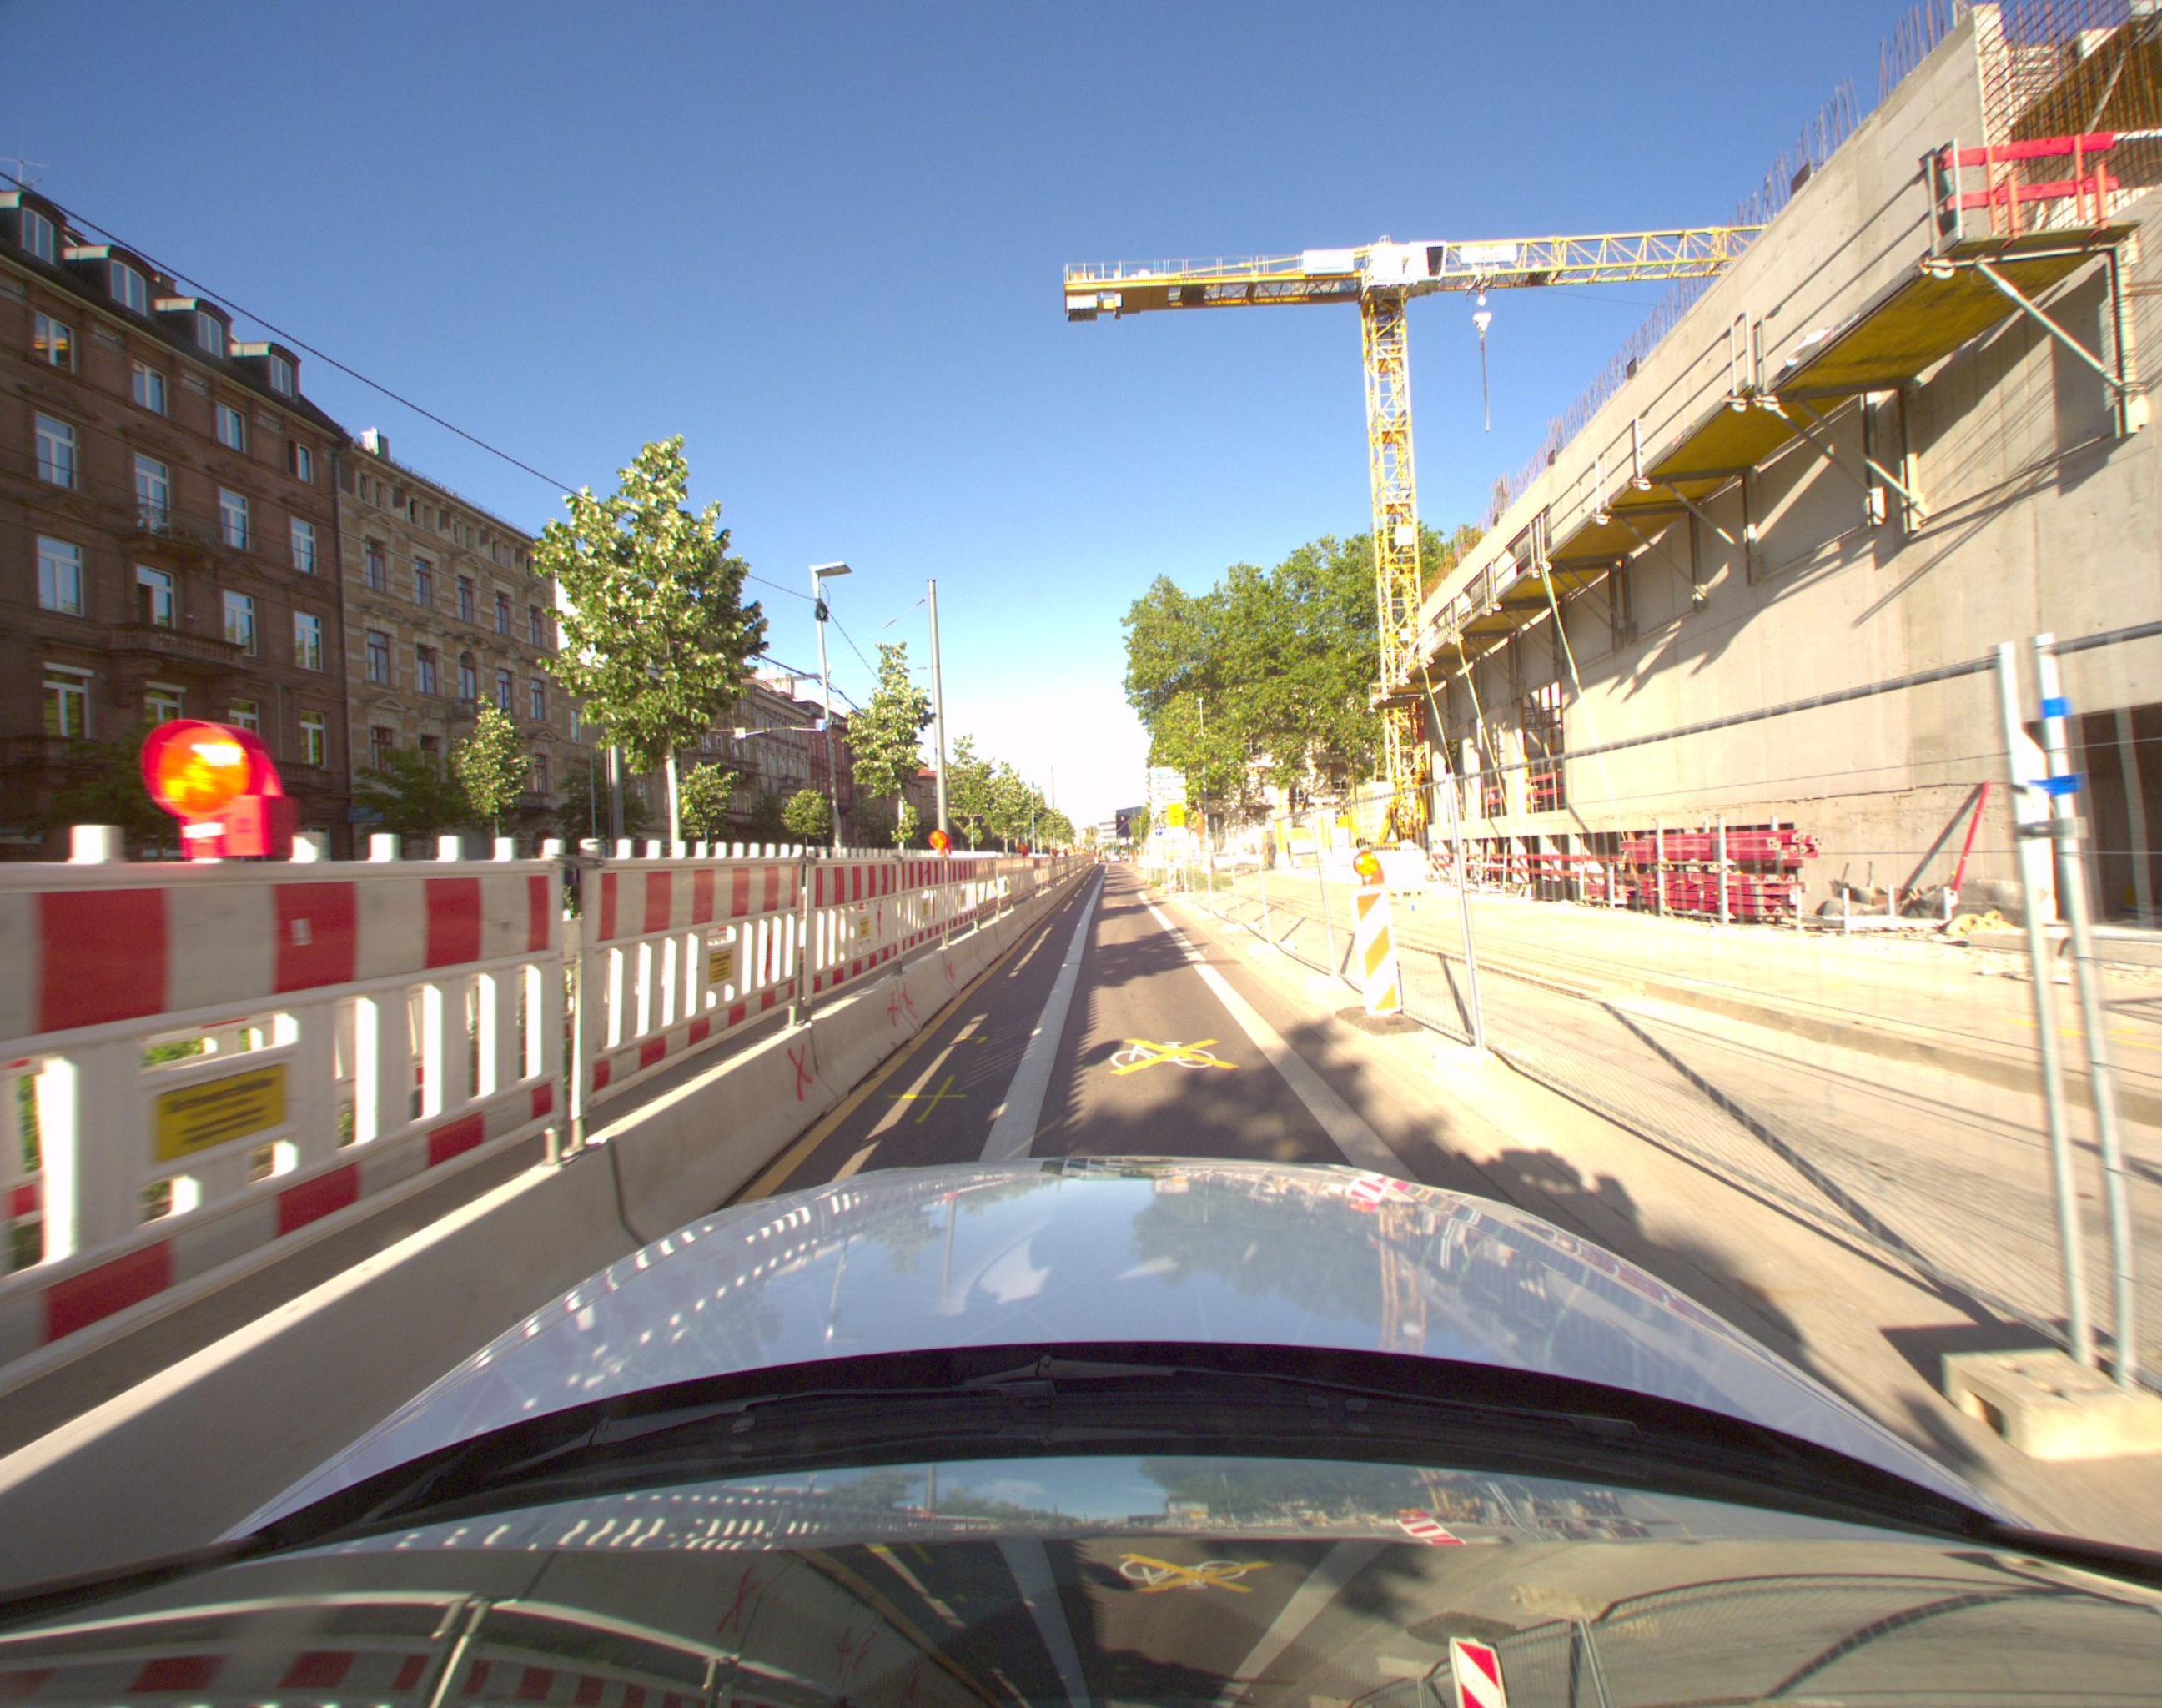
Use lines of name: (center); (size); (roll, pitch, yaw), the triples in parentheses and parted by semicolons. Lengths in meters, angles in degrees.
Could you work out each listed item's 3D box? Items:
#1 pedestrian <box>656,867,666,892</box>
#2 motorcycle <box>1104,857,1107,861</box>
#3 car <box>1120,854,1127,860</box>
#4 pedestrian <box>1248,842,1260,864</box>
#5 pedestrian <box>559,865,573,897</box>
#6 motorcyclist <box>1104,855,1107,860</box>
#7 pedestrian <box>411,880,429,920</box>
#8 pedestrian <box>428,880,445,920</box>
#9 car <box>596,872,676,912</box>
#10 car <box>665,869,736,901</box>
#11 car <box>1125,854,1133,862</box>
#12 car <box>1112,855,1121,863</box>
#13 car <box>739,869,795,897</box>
pedestrian: (-26.029, 1.574, 50.499); (0.403, 1.534, 0.435); (0, -1, 2)
motorcycle: (6.797, 1.410, 225.205); (0.628, 0.896, 1.622); (-3, 0, 2)
car: (11.955, 0.827, 230.098); (1.876, 1.842, 3.669); (-3, 0, 2)
pedestrian: (13.850, -0.085, 65.195); (0.772, 1.746, 0.671); (-3, 0, 3)
pedestrian: (-25.743, 1.335, 40.712); (0.460, 1.585, 0.434); (0, -1, -5)
motorcyclist: (6.770, 0.926, 225.249); (0.628, 1.263, 0.606); (-3, 0, 2)
pedestrian: (-26.592, 1.848, 32.765); (0.432, 1.585, 0.385); (0, -1, -1)
pedestrian: (-25.874, 1.850, 32.703); (0.427, 1.585, 0.339); (0, -1, 2)
car: (-21.220, 1.767, 39.045); (1.560, 1.675, 3.811); (-3, 0, 2)
car: (-21.410, 1.700, 46.007); (1.560, 1.562, 4.717); (-3, 0, 2)
car: (11.908, 0.868, 200.742); (1.876, 1.842, 3.669); (-3, 0, 2)
car: (7.986, 1.092, 184.871); (1.876, 1.842, 3.669); (-3, 0, 2)
car: (-20.178, 1.803, 52.534); (1.560, 1.562, 4.716); (-3, 0, 2)
